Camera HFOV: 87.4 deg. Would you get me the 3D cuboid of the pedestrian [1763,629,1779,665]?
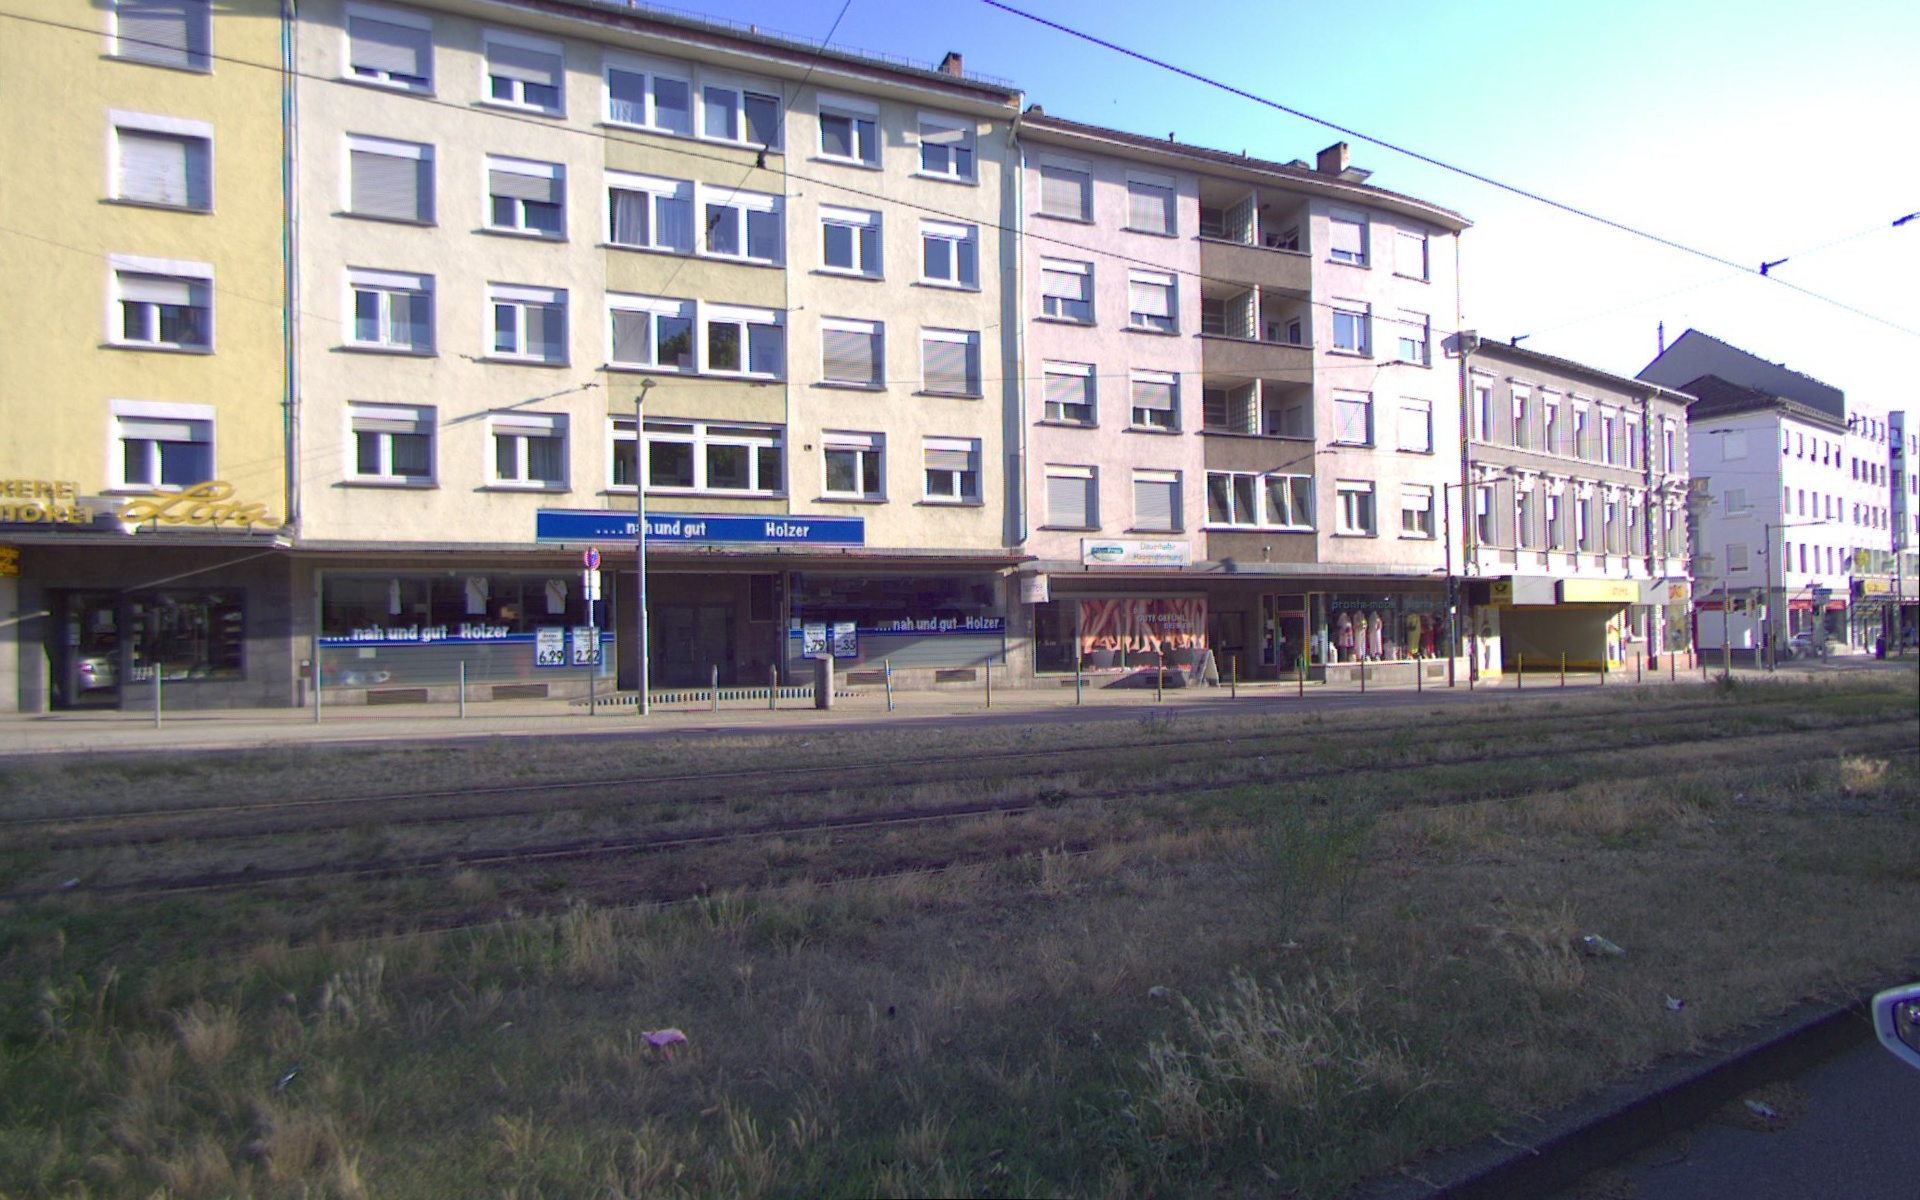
[{"bbox_3d":[38.653,2.228,47.868,0.501,1.736,0.424,1,-2,-26],"label":"pedestrian"}]
